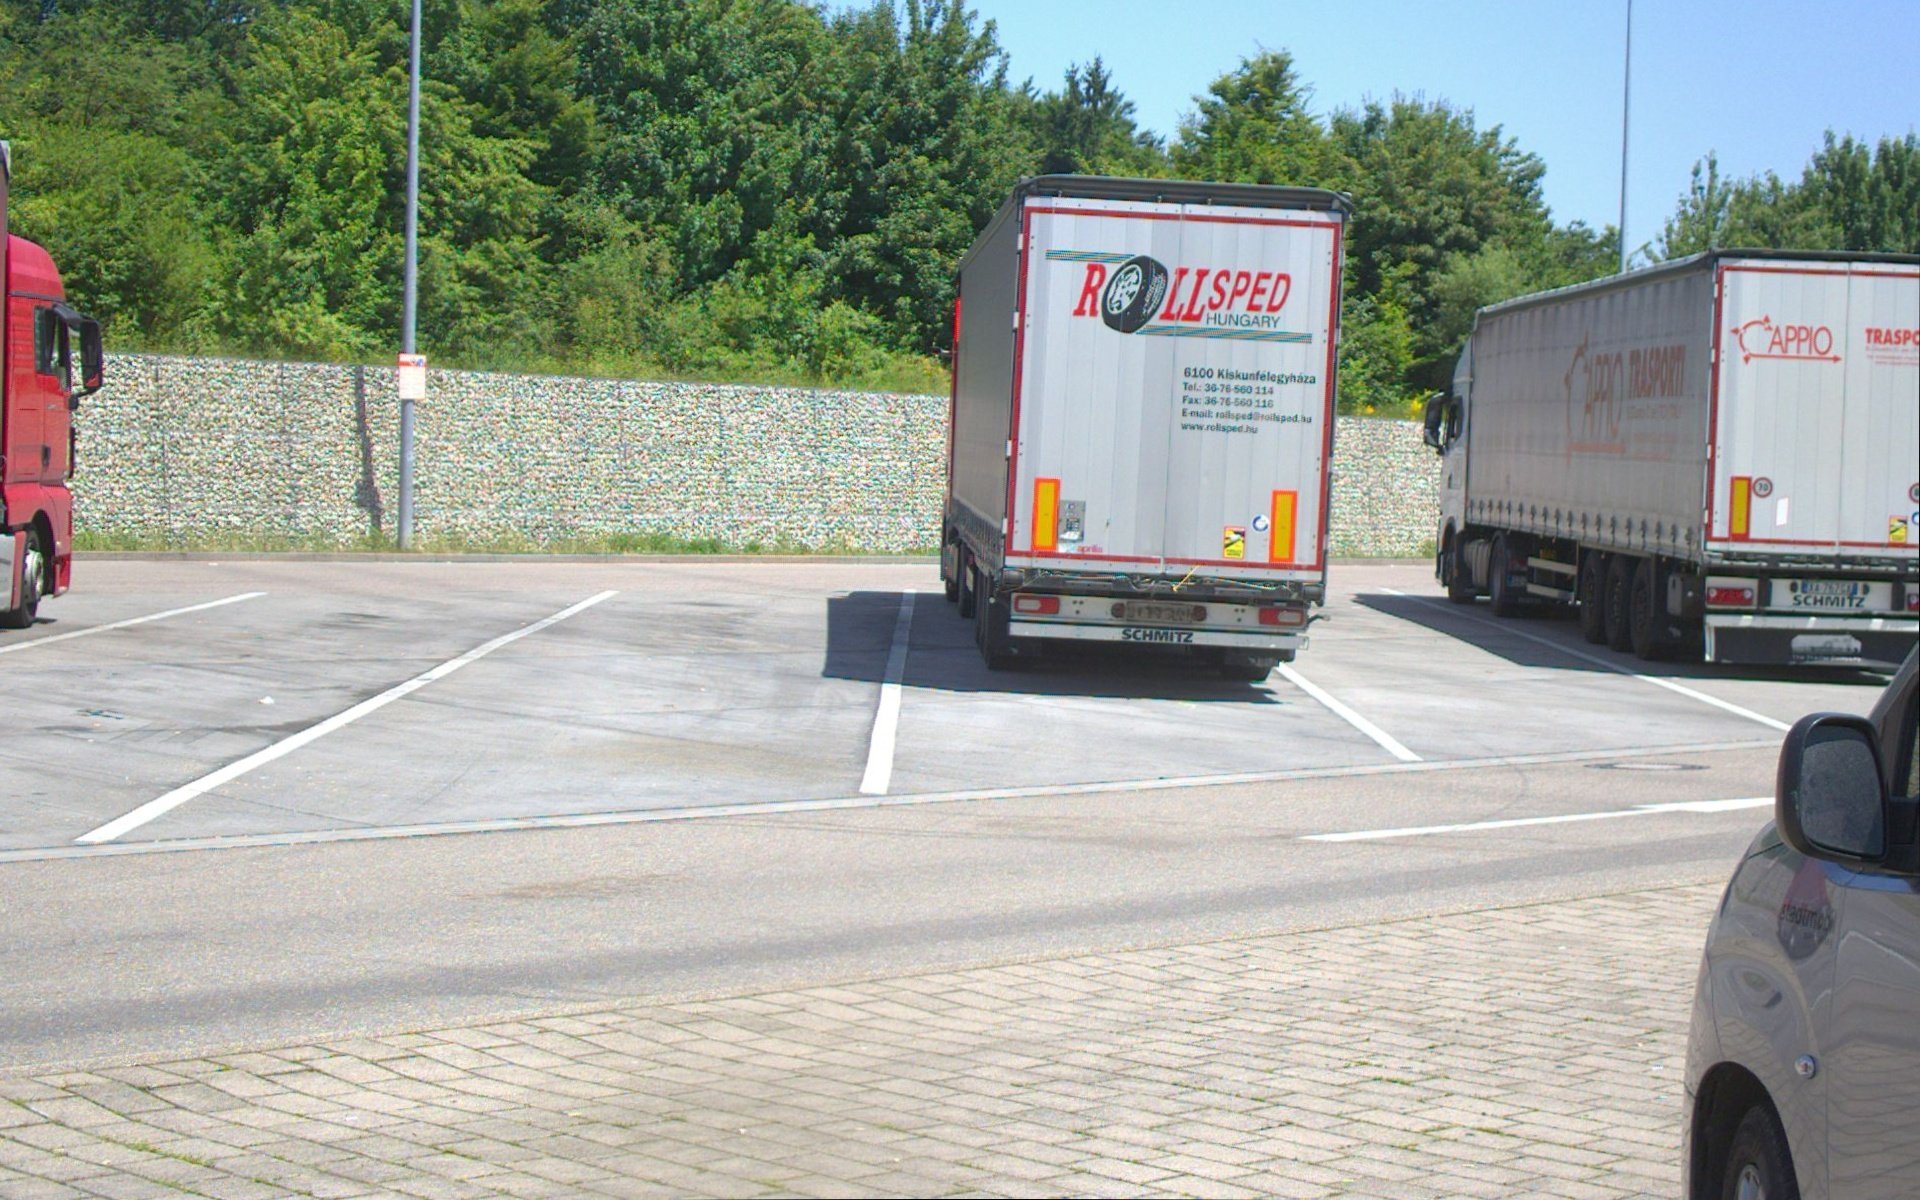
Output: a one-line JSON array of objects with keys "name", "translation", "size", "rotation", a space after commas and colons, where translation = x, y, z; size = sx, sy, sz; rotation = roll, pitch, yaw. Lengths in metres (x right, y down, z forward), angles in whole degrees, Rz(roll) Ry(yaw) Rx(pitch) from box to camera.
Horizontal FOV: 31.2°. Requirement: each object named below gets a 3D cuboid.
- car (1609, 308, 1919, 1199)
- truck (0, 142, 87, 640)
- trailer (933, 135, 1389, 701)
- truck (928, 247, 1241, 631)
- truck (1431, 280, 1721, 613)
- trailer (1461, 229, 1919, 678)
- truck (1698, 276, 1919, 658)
[{"name": "car", "translation": [2.140, 0.537, 3.792], "size": [1.825, 1.747, 4.001], "rotation": [1, 2, -4]}, {"name": "truck", "translation": [-9.226, -1.704, 27.654], "size": [2.743, 4.067, 6.830], "rotation": [1, 2, -1]}, {"name": "trailer", "translation": [1.484, -1.701, 32.635], "size": [3.069, 4.213, 12.810], "rotation": [2, 3, -2]}, {"name": "truck", "translation": [1.270, -1.859, 39.403], "size": [3.026, 3.915, 6.847], "rotation": [2, 3, -2]}, {"name": "truck", "translation": [8.034, -1.994, 45.467], "size": [2.757, 4.110, 5.285], "rotation": [1, 2, -1]}, {"name": "trailer", "translation": [8.147, -1.578, 38.471], "size": [2.876, 4.110, 13.572], "rotation": [1, 2, -1]}, {"name": "truck", "translation": [11.737, -1.480, 39.803], "size": [2.904, 4.110, 14.528], "rotation": [3, 2, -1]}]
